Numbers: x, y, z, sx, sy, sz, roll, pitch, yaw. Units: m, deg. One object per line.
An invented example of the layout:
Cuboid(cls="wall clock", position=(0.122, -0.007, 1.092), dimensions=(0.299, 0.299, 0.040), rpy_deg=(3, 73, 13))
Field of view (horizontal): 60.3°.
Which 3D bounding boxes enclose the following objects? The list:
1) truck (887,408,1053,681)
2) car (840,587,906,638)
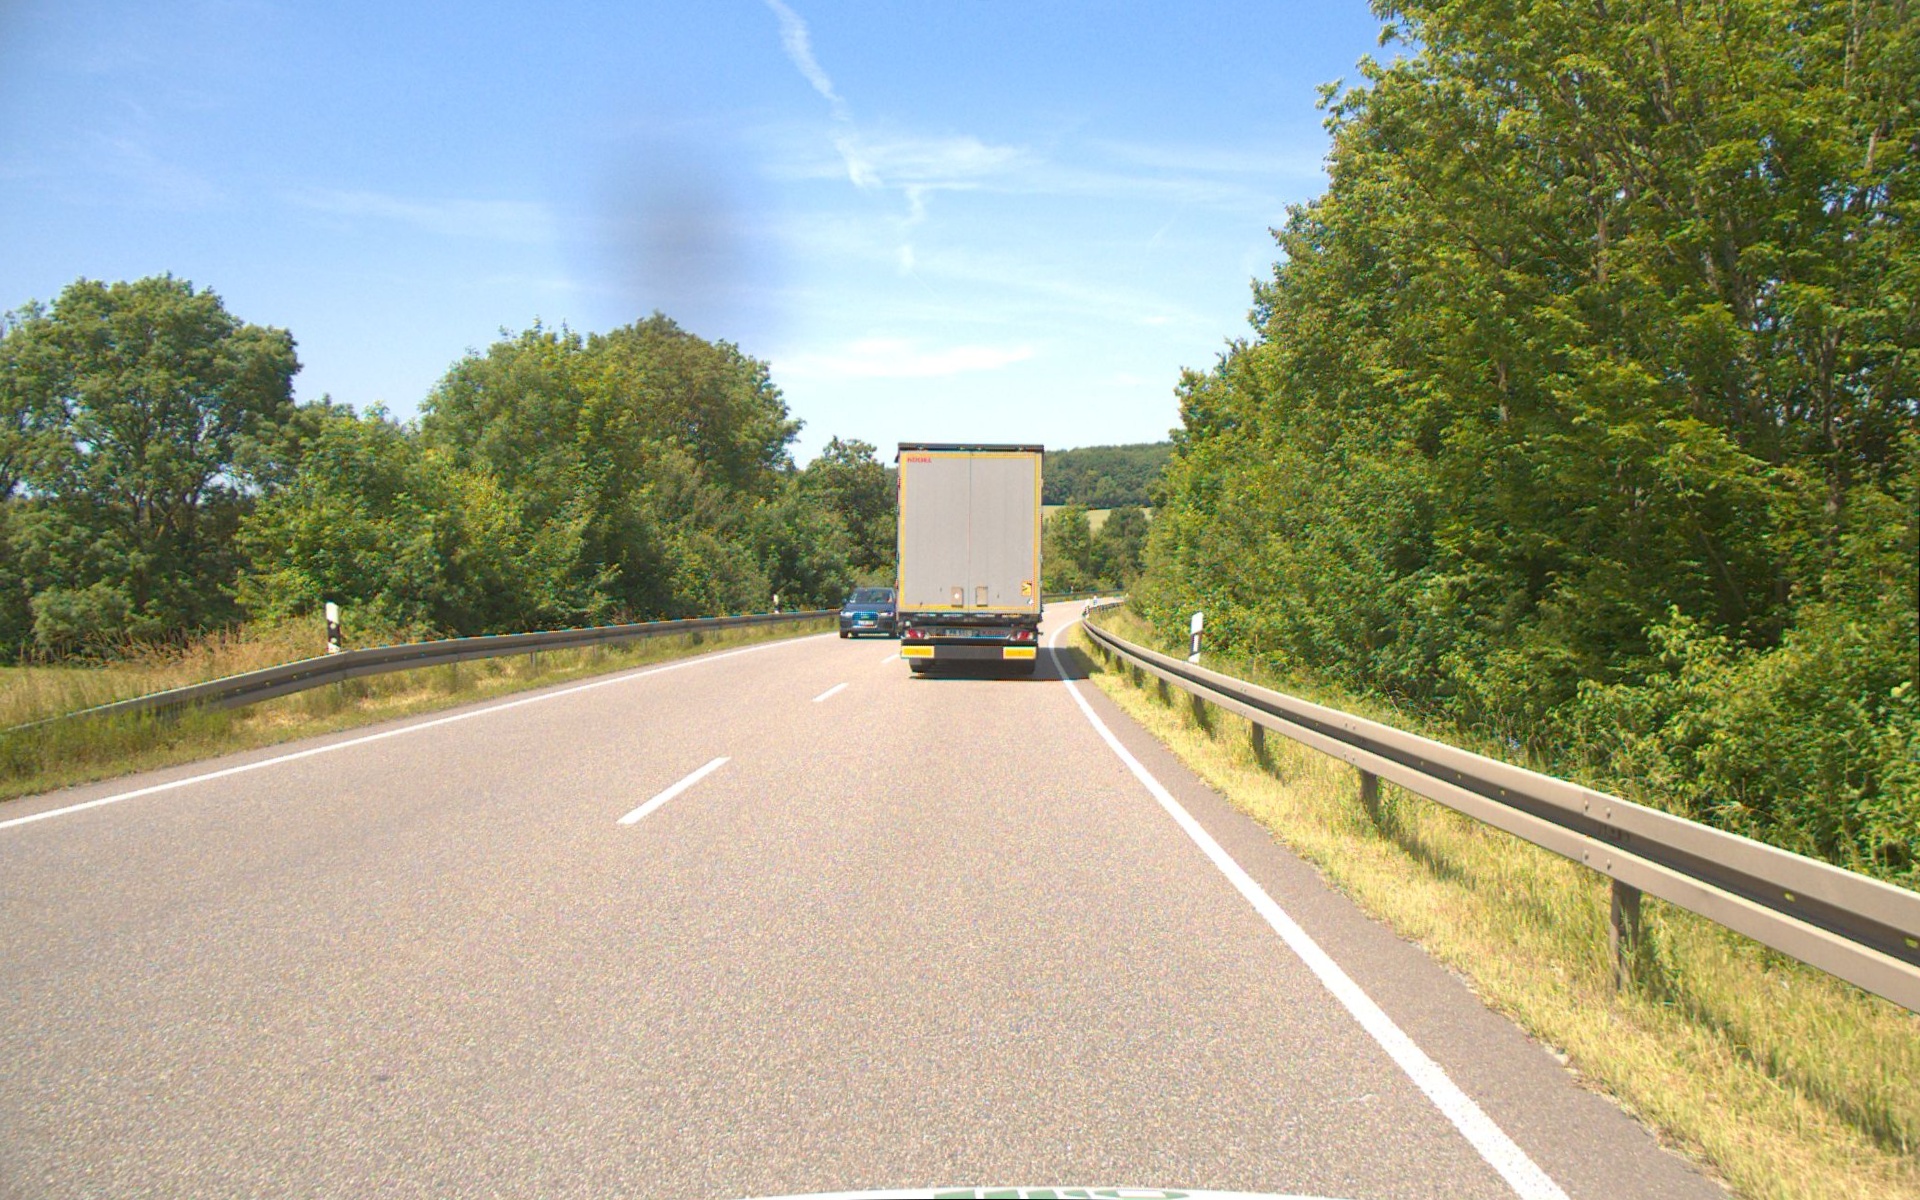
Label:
Cuboid(cls="truck", position=(0.467, -0.960, 34.062), dimensions=(2.758, 4.612, 11.772), rpy_deg=(1, 0, 3))
Cuboid(cls="car", position=(-2.747, 0.372, 52.752), dimensions=(1.825, 1.554, 3.891), rpy_deg=(1, 0, 1))
